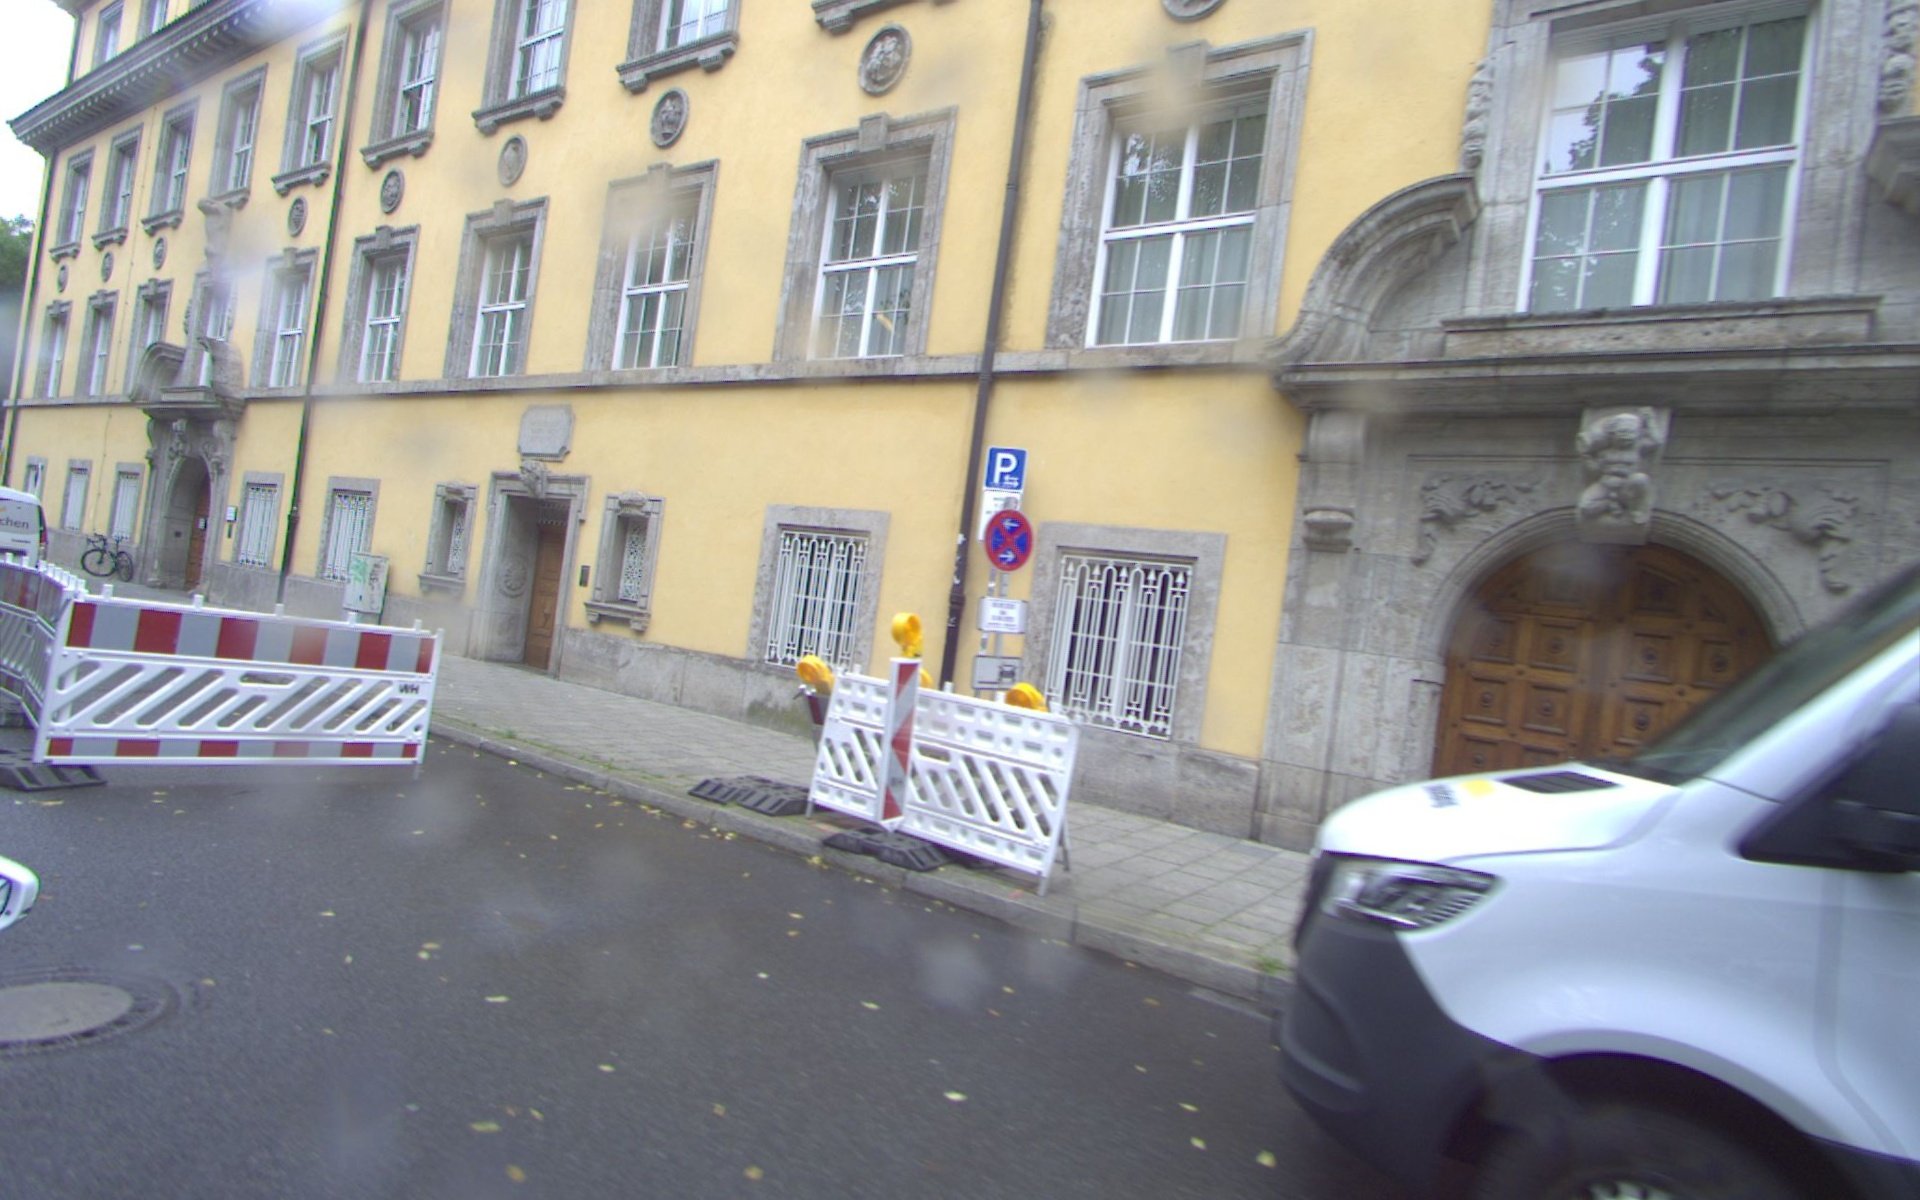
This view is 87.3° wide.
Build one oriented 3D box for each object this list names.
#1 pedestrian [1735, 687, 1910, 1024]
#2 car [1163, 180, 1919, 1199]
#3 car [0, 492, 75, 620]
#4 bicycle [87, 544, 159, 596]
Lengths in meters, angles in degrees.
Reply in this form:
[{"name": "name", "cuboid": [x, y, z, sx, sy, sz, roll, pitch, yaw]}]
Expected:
[{"name": "pedestrian", "cuboid": [5.175, 1.469, 6.080, 0.573, 1.826, 0.701, 6, 0, 33]}, {"name": "car", "cuboid": [4.348, 0.828, 1.520, 7.489, 2.704, 2.058, 6, -2, 32]}, {"name": "car", "cuboid": [-15.646, -0.828, 15.537, 4.286, 1.770, 1.742, 5, -3, 33]}, {"name": "bicycle", "cuboid": [-19.748, -0.719, 23.717, 2.024, 1.018, 0.681, 6, -2, 34]}]
